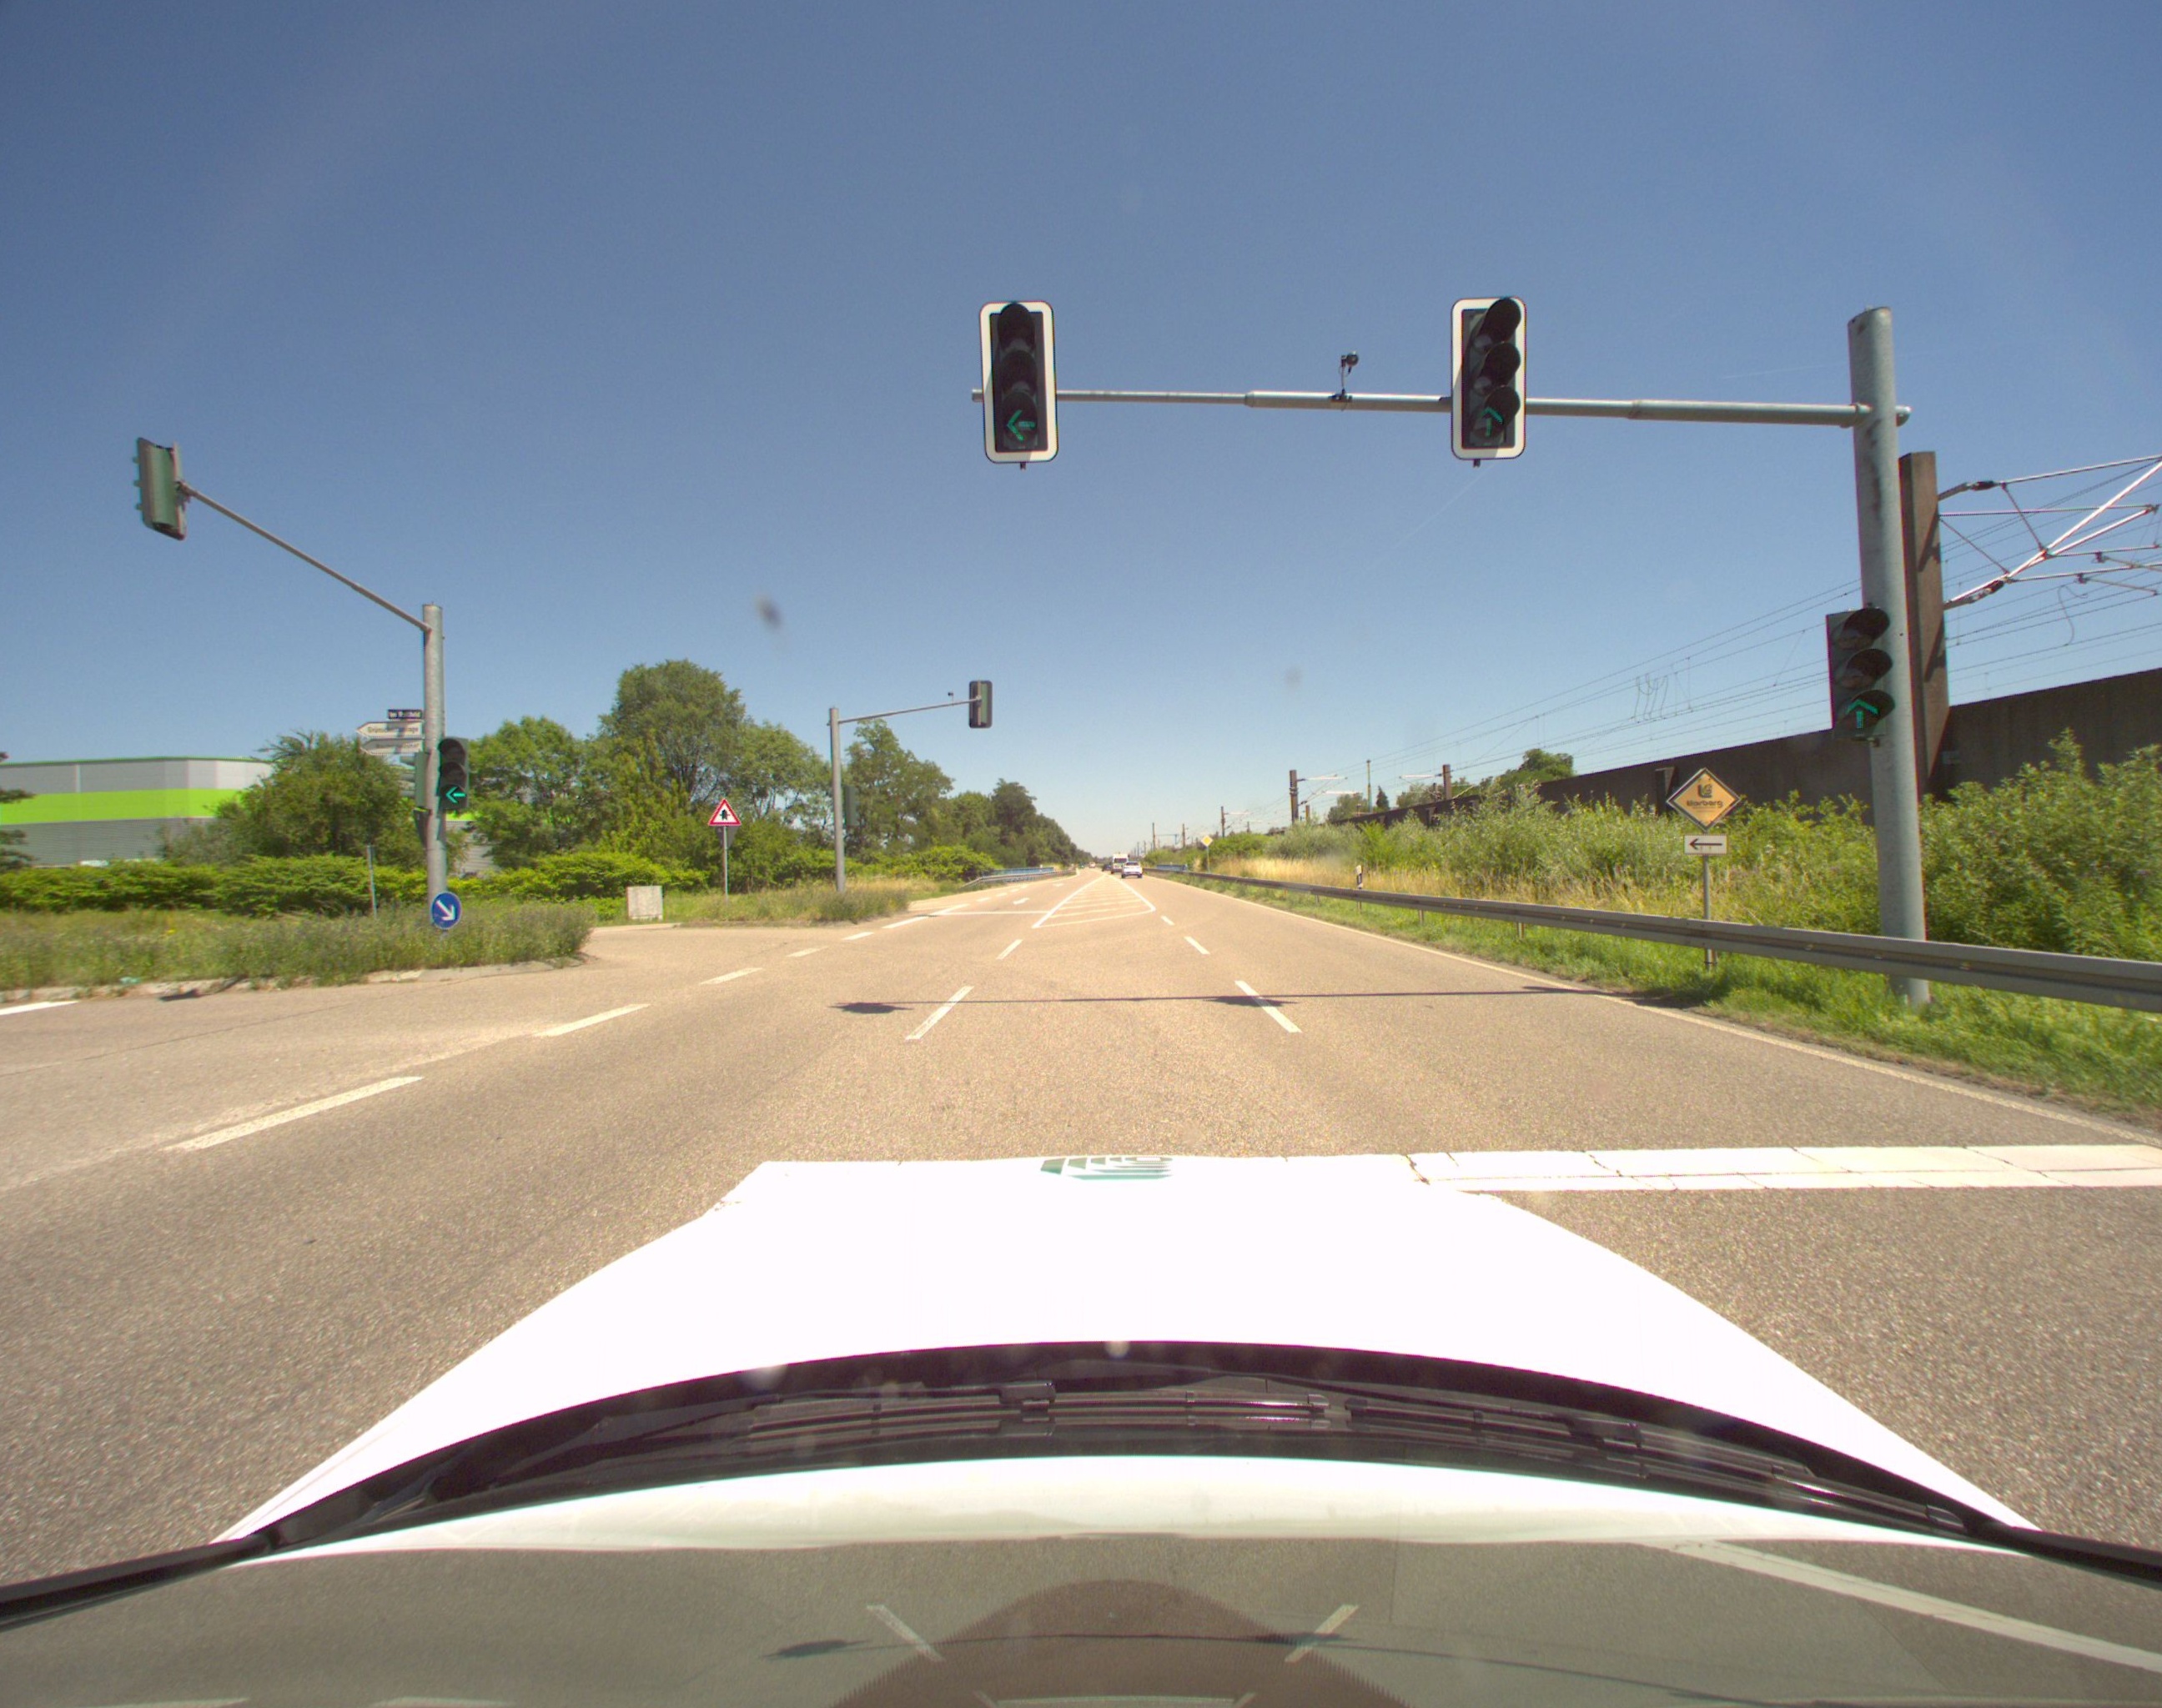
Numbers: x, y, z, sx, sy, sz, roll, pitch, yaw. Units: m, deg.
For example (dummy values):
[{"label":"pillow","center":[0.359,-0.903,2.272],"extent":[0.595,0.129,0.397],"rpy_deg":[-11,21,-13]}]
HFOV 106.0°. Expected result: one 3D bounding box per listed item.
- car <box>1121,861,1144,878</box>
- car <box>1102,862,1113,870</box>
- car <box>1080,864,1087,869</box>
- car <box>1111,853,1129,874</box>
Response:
[{"label":"car","center":[4.743,1.413,75.956],"extent":[1.812,1.564,4.277],"rpy_deg":[-1,-1,-1]},{"label":"car","center":[4.596,2.090,143.725],"extent":[1.850,1.380,4.503],"rpy_deg":[-1,0,1]},{"label":"car","center":[0.801,3.898,253.006],"extent":[1.850,1.380,4.503],"rpy_deg":[-1,0,0]},{"label":"car","center":[5.070,1.240,105.789],"extent":[2.180,2.604,6.752],"rpy_deg":[-1,0,2]}]
